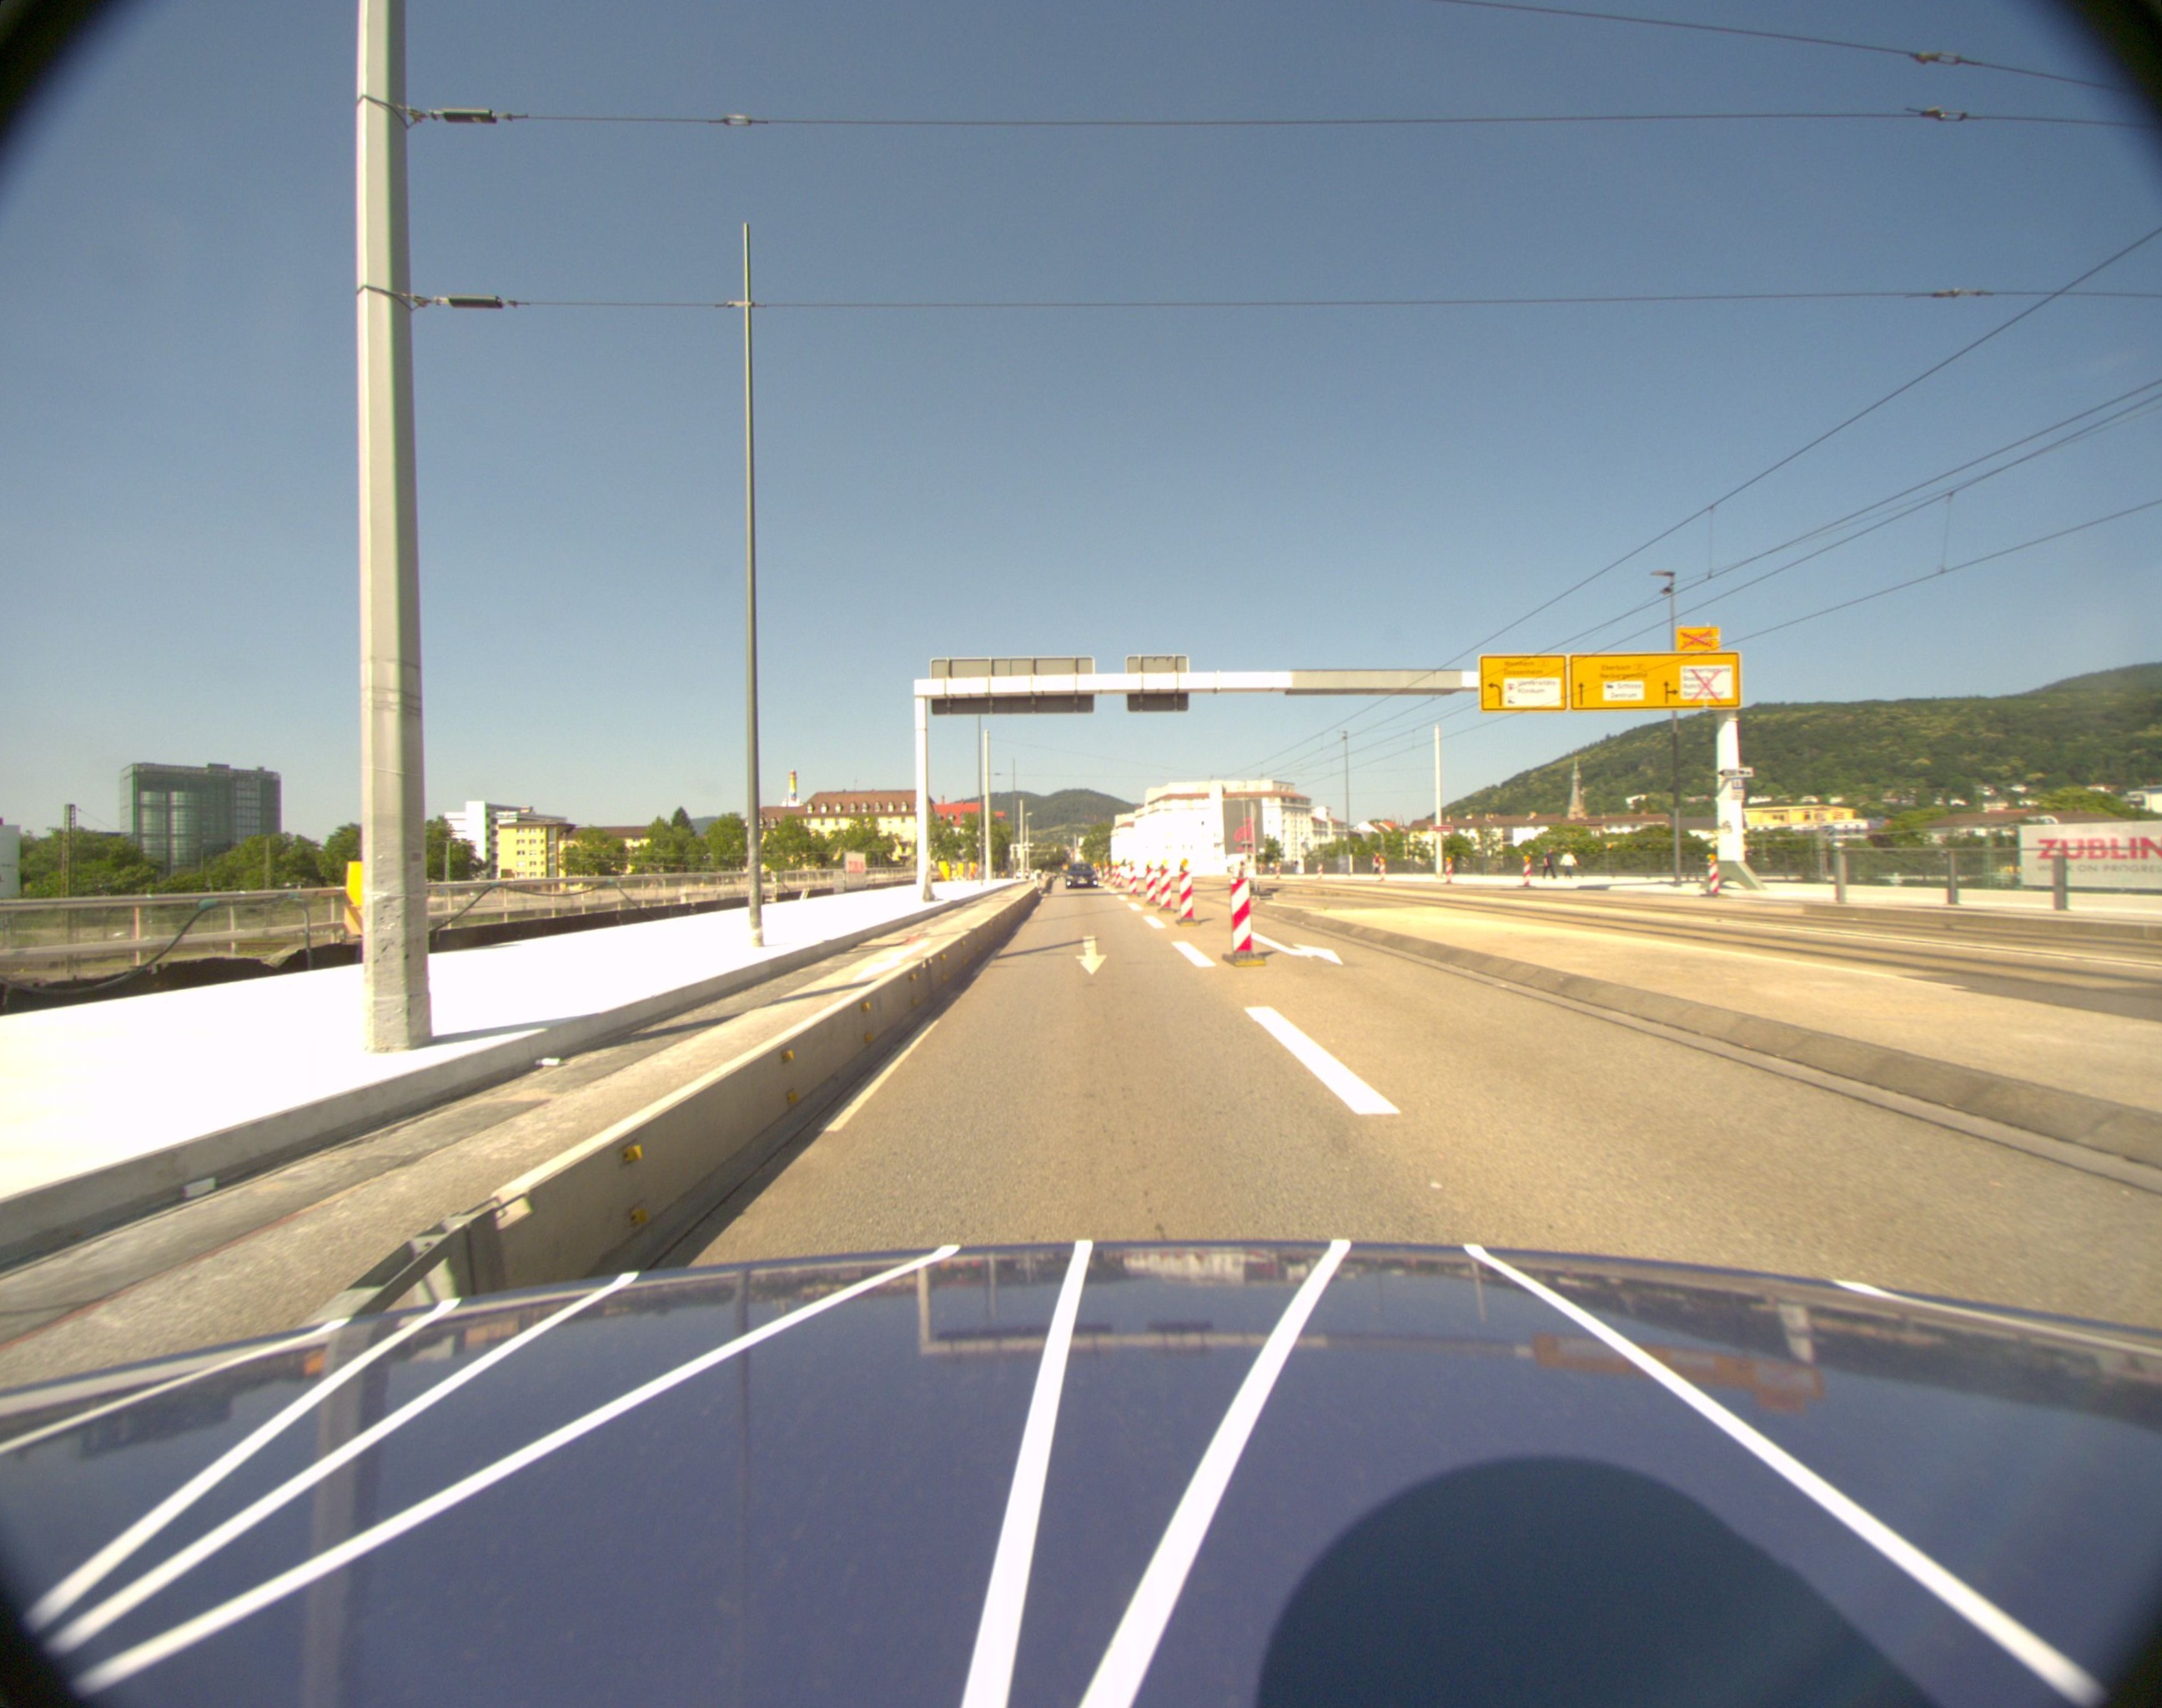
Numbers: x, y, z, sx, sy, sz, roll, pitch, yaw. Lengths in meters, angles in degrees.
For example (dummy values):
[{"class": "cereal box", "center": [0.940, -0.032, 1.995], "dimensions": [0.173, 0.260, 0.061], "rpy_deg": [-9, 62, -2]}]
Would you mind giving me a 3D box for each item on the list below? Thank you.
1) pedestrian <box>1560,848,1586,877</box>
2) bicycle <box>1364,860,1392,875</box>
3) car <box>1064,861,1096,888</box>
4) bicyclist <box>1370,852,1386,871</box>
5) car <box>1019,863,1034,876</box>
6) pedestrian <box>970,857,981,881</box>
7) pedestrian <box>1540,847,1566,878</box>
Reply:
[{"class": "pedestrian", "center": [26.614, 0.457, 41.139], "dimensions": [0.721, 1.535, 0.889], "rpy_deg": [-3, 0, -2]}, {"class": "bicycle", "center": [23.705, 1.078, 60.710], "dimensions": [0.858, 1.187, 3.072], "rpy_deg": [-2, -1, -3]}, {"class": "car", "center": [-0.033, 1.113, 43.490], "dimensions": [1.698, 1.388, 4.363], "rpy_deg": [-3, 0, 1]}, {"class": "bicyclist", "center": [23.690, 0.593, 60.539], "dimensions": [0.858, 1.510, 0.817], "rpy_deg": [-2, 0, -3]}, {"class": "car", "center": [-8.650, 2.507, 121.739], "dimensions": [1.938, 2.077, 6.472], "rpy_deg": [-1, -2, 0]}, {"class": "pedestrian", "center": [-8.449, 1.189, 60.950], "dimensions": [0.733, 1.953, 1.016], "rpy_deg": [0, 0, -2]}, {"class": "pedestrian", "center": [25.597, 0.462, 41.204], "dimensions": [0.745, 1.632, 0.895], "rpy_deg": [-3, 0, -2]}]
